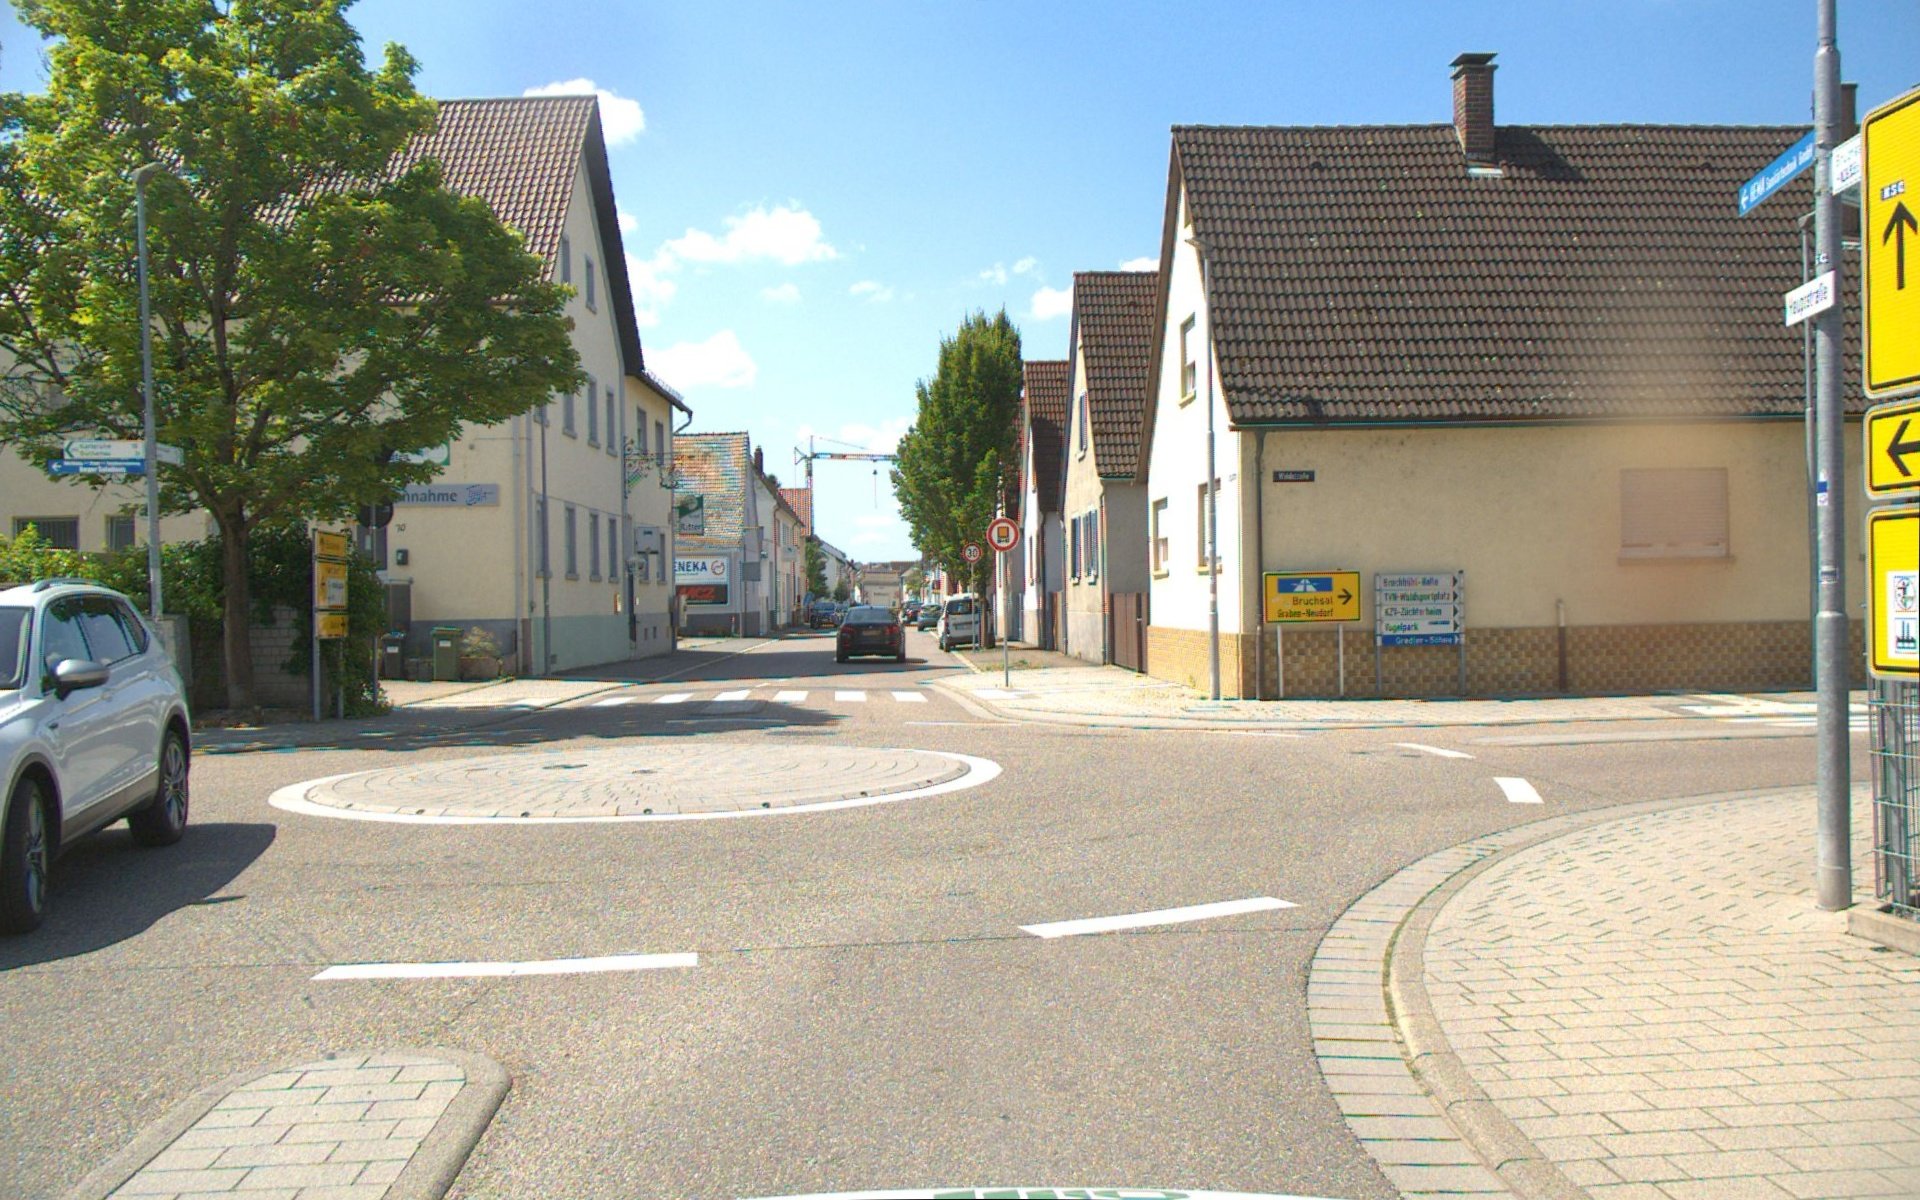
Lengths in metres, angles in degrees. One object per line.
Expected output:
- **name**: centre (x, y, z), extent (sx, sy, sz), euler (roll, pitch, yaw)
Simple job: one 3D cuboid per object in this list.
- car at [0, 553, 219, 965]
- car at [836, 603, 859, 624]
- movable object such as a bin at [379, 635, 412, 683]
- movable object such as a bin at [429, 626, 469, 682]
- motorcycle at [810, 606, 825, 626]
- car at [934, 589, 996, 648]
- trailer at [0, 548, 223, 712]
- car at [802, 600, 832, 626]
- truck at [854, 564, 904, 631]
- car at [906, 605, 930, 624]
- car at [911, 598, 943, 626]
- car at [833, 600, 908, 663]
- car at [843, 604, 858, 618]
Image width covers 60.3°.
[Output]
- **car**: centre (-5.466, 0.722, 8.844), extent (1.834, 1.739, 4.526), euler (-3, 1, -13)
- **car**: centre (-8.889, 1.048, 130.595), extent (1.773, 1.617, 3.997), euler (0, 0, -3)
- **movable object such as a bin**: centre (-11.500, 1.206, 33.729), extent (0.469, 0.944, 0.547), euler (-1, 0, 0)
- **movable object such as a bin**: centre (-10.468, 1.101, 33.907), extent (0.587, 1.097, 0.658), euler (-1, 0, 0)
- **motorcycle**: centre (-8.749, 0.989, 101.436), extent (0.829, 1.190, 2.467), euler (1, -1, -4)
- **car**: centre (0.119, 0.585, 54.692), extent (1.686, 1.821, 4.140), euler (-2, 0, -4)
- **trailer**: centre (-13.553, 0.433, 26.194), extent (1.841, 2.376, 4.521), euler (0, 0, -2)
- **car**: centre (-9.075, 0.810, 105.345), extent (1.773, 1.617, 3.997), euler (0, 0, -3)
- **truck**: centre (-5.362, -0.098, 111.519), extent (3.081, 4.325, 9.299), euler (1, -1, -1)
- **car**: centre (-3.063, 1.036, 119.754), extent (1.685, 1.379, 4.154), euler (0, 0, -2)
- **car**: centre (-1.818, 0.650, 91.181), extent (1.684, 1.487, 4.155), euler (0, 0, -1)
- **car**: centre (-2.358, 0.802, 44.535), extent (1.863, 1.591, 4.475), euler (0, 0, -2)
- **car**: centre (-13.286, 1.348, 200.145), extent (1.773, 1.617, 3.997), euler (0, 0, -3)
